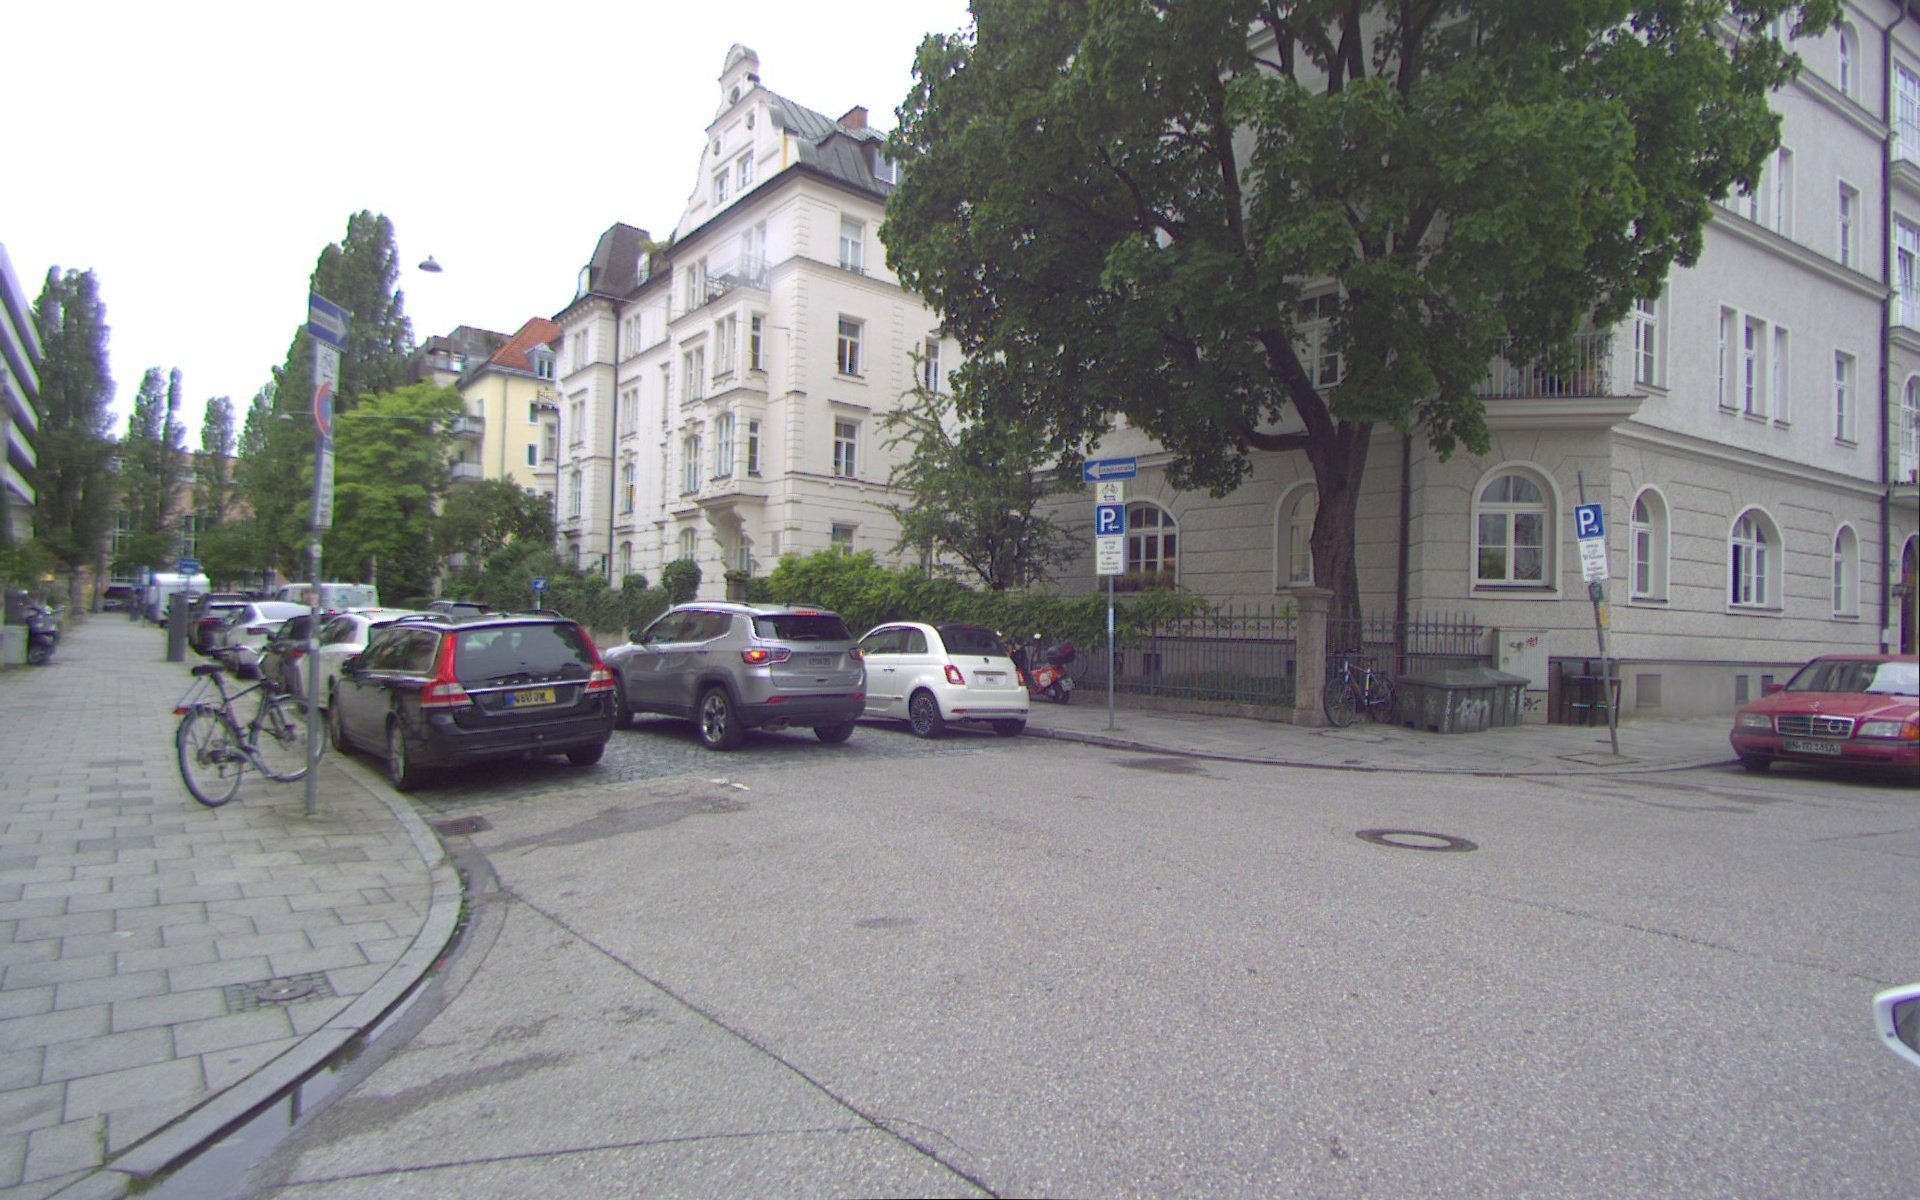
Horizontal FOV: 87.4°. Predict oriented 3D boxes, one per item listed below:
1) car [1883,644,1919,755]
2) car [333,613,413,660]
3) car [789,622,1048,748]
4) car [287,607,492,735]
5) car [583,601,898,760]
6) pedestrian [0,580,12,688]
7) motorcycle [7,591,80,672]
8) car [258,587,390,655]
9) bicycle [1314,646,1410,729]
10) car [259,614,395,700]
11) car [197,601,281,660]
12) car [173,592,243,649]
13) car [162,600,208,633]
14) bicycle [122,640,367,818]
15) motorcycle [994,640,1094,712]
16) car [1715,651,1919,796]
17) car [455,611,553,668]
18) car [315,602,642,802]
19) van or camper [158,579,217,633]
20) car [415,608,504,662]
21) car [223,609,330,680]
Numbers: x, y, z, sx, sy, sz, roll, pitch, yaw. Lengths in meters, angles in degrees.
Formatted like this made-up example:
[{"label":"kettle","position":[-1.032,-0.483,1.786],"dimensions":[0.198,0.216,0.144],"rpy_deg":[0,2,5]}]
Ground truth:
[{"label":"car","position":[15.107,1.430,14.434],"dimensions":[4.179,1.493,1.980],"rpy_deg":[3,-2,-37]},{"label":"car","position":[-17.652,1.080,30.176],"dimensions":[1.593,1.348,2.919],"rpy_deg":[3,-2,-40]},{"label":"car","position":[-0.720,1.098,14.288],"dimensions":[1.671,1.468,3.956],"rpy_deg":[3,-1,-38]},{"label":"car","position":[-8.192,0.870,14.246],"dimensions":[1.671,1.528,4.211],"rpy_deg":[0,0,-42]},{"label":"car","position":[-2.873,0.884,12.520],"dimensions":[1.950,1.629,4.255],"rpy_deg":[2,-2,-43]},{"label":"pedestrian","position":[-15.237,0.516,15.500],"dimensions":[0.728,1.678,0.782],"rpy_deg":[5,-3,-40]},{"label":"motorcycle","position":[-18.182,0.643,19.976],"dimensions":[0.956,1.481,2.855],"rpy_deg":[2,-3,-41]},{"label":"car","position":[-24.758,0.804,39.119],"dimensions":[4.516,2.508,2.162],"rpy_deg":[1,-2,24]},{"label":"bicycle","position":[5.838,1.234,14.545],"dimensions":[1.811,1.066,0.489],"rpy_deg":[0,0,-40]},{"label":"car","position":[-11.394,0.958,17.975],"dimensions":[1.580,1.359,3.770],"rpy_deg":[3,-2,-39]},{"label":"car","position":[-21.903,0.905,30.443],"dimensions":[1.695,1.669,3.952],"rpy_deg":[3,-2,-41]},{"label":"car","position":[-26.858,0.730,35.825],"dimensions":[1.695,1.884,3.952],"rpy_deg":[3,-2,-41]},{"label":"car","position":[-41.421,0.887,53.639],"dimensions":[1.695,1.669,3.952],"rpy_deg":[3,-2,-41]},{"label":"bicycle","position":[-5.481,0.930,7.857],"dimensions":[0.597,1.184,1.834],"rpy_deg":[3,-2,-2]},{"label":"motorcycle","position":[1.440,1.296,17.563],"dimensions":[0.586,1.126,1.969],"rpy_deg":[1,-1,-37]},{"label":"car","position":[10.853,1.350,11.917],"dimensions":[4.181,1.396,1.721],"rpy_deg":[2,-2,-33]},{"label":"car","position":[-13.581,1.144,29.836],"dimensions":[1.674,1.554,3.825],"rpy_deg":[2,-2,-40]},{"label":"car","position":[-5.089,0.819,10.298],"dimensions":[1.889,1.536,4.295],"rpy_deg":[-2,2,-42]},{"label":"van or camper","position":[-45.301,0.366,58.866],"dimensions":[2.409,2.973,5.308],"rpy_deg":[3,-2,-41]},{"label":"car","position":[-16.575,1.137,33.201],"dimensions":[1.695,1.669,3.952],"rpy_deg":[3,-2,-41]},{"label":"car","position":[-15.448,0.949,22.616],"dimensions":[1.607,1.461,3.954],"rpy_deg":[3,-2,-40]}]
